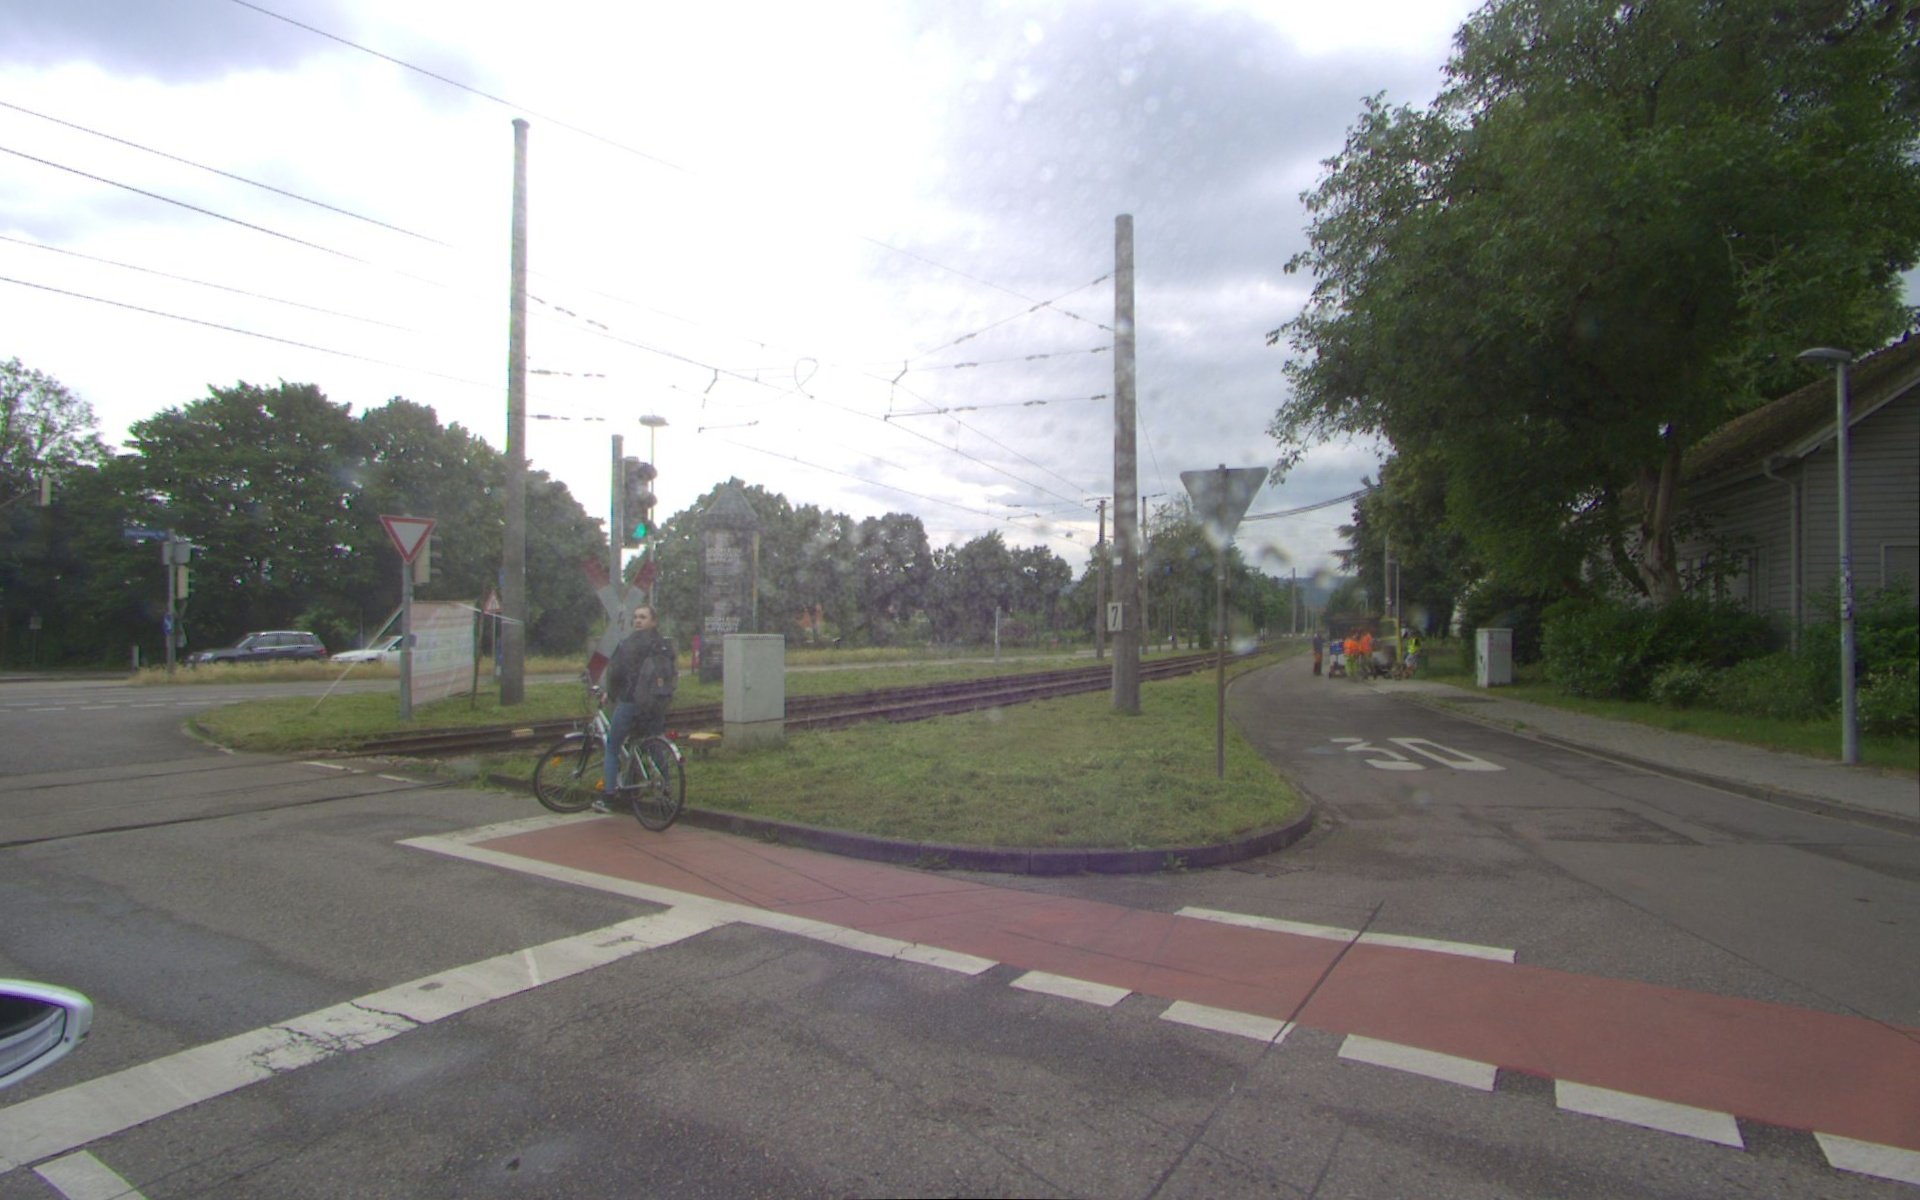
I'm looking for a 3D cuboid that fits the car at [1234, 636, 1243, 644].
[{"bbox_3d":[60.453,8.690,217.283,1.964,1.829,3.997,-1,-2,16],"label":"car"}]

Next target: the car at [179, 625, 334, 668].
[{"bbox_3d":[-26.485,1.716,37.844,1.820,1.523,4.456,-1,-2,33],"label":"car"}]

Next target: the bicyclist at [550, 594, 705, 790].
[{"bbox_3d":[-2.605,0.711,7.870,0.947,1.441,0.621,-1,-5,32],"label":"bicyclist"}]

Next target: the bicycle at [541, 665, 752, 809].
[{"bbox_3d":[-2.489,1.023,7.835,2.001,0.993,0.382,-2,-2,32],"label":"bicycle"}]

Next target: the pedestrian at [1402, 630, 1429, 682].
[{"bbox_3d":[16.683,2.046,36.708,0.598,1.864,0.712,1,-1,-13],"label":"pedestrian"}]

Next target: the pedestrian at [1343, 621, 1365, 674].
[{"bbox_3d":[13.456,1.612,34.215,0.624,1.785,0.575,0,-1,12],"label":"pedestrian"}]

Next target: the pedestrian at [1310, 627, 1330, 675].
[{"bbox_3d":[14.452,2.048,40.217,0.757,1.892,0.604,0,-1,17],"label":"pedestrian"}]

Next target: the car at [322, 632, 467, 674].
[{"bbox_3d":[-19.556,1.812,34.783,1.624,1.374,4.129,-1,-2,33],"label":"car"}]

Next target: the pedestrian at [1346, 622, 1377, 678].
[{"bbox_3d":[13.916,1.725,34.736,0.862,1.878,0.676,0,-1,34],"label":"pedestrian"}]
